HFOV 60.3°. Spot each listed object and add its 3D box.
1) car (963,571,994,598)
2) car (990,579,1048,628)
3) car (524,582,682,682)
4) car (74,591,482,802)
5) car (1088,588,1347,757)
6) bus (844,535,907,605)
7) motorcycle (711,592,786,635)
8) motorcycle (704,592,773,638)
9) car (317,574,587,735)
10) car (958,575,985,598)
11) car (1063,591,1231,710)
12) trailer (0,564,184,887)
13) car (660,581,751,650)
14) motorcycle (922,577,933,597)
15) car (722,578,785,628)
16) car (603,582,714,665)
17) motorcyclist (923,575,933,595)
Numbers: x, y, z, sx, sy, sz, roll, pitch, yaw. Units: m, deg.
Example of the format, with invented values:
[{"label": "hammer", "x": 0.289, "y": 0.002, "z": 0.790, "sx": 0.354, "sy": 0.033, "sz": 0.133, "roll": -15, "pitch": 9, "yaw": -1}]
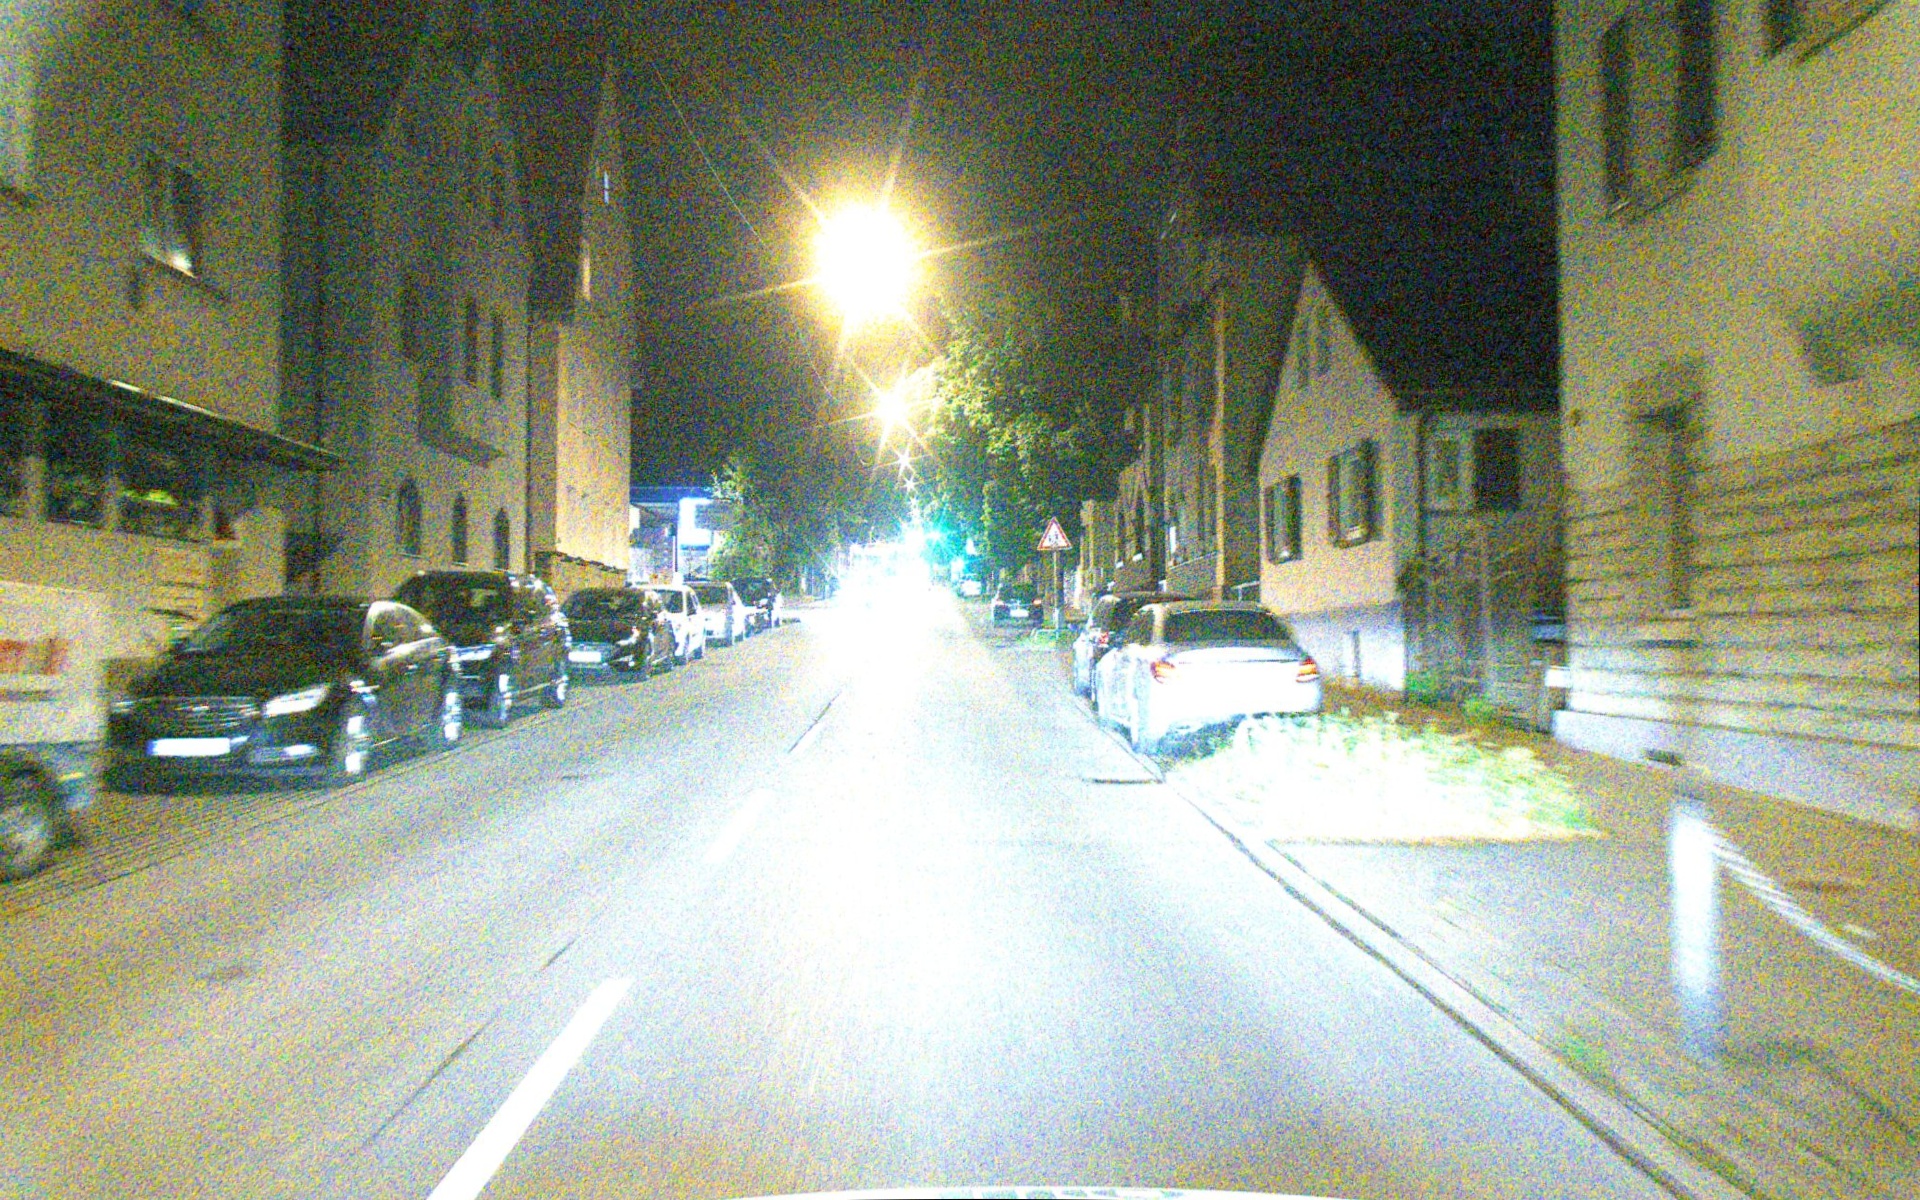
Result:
[{"label": "car", "x": 1.144, "y": -1.008, "z": 104.613, "sx": 1.775, "sy": 1.621, "sz": 4.273, "roll": -1, "pitch": 1, "yaw": -1}, {"label": "car", "x": 1.956, "y": 0.076, "z": 55.788, "sx": 1.727, "sy": 1.501, "sz": 4.080, "roll": -1, "pitch": 1, "yaw": -1}, {"label": "car", "x": -5.899, "y": 0.503, "z": 27.817, "sx": 1.826, "sy": 1.518, "sz": 4.279, "roll": 1, "pitch": 0, "yaw": -2}, {"label": "car", "x": -5.615, "y": 0.688, "z": 14.314, "sx": 1.798, "sy": 1.472, "sz": 4.543, "roll": 0, "pitch": 1, "yaw": -2}, {"label": "car", "x": 2.520, "y": 0.656, "z": 17.357, "sx": 1.808, "sy": 1.442, "sz": 4.643, "roll": -3, "pitch": 0, "yaw": -2}, {"label": "bus", "x": -4.147, "y": -1.526, "z": 83.064, "sx": 2.780, "sy": 3.233, "sz": 10.497, "roll": 1, "pitch": 1, "yaw": -1}, {"label": "motorcycle", "x": -5.968, "y": 0.371, "z": 46.618, "sx": 2.162, "sy": 1.150, "sz": 0.714, "roll": 0, "pitch": 1, "yaw": 32}, {"label": "motorcycle", "x": -5.981, "y": 0.392, "z": 44.599, "sx": 0.710, "sy": 1.167, "sz": 2.174, "roll": -1, "pitch": 1, "yaw": -43}, {"label": "car", "x": -5.797, "y": 0.537, "z": 19.479, "sx": 1.798, "sy": 1.647, "sz": 4.544, "roll": 1, "pitch": 1, "yaw": -1}, {"label": "car", "x": 0.804, "y": -0.983, "z": 117.938, "sx": 1.831, "sy": 1.553, "sz": 4.149, "roll": -1, "pitch": 1, "yaw": -1}, {"label": "car", "x": 2.472, "y": 0.621, "z": 22.732, "sx": 1.735, "sy": 1.473, "sz": 4.018, "roll": -1, "pitch": 0, "yaw": -2}, {"label": "trailer", "x": -5.734, "y": 0.633, "z": 8.586, "sx": 1.603, "sy": 1.668, "sz": 3.440, "roll": 1, "pitch": 0, "yaw": 3}, {"label": "car", "x": -6.157, "y": 0.332, "z": 40.350, "sx": 1.670, "sy": 1.517, "sz": 4.226, "roll": -1, "pitch": 1, "yaw": -2}, {"label": "motorcycle", "x": -2.836, "y": -1.141, "z": 145.969, "sx": 0.912, "sy": 1.782, "sz": 2.624, "roll": 1, "pitch": 0, "yaw": -1}, {"label": "car", "x": -6.478, "y": 0.089, "z": 52.095, "sx": 1.605, "sy": 1.524, "sz": 2.765, "roll": 0, "pitch": 0, "yaw": 0}, {"label": "car", "x": -5.881, "y": 0.444, "z": 32.618, "sx": 1.589, "sy": 1.518, "sz": 3.779, "roll": 1, "pitch": 0, "yaw": -2}, {"label": "motorcyclist", "x": -2.837, "y": -1.307, "z": 146.065, "sx": 0.831, "sy": 1.782, "sz": 0.805, "roll": 1, "pitch": 0, "yaw": -1}]
